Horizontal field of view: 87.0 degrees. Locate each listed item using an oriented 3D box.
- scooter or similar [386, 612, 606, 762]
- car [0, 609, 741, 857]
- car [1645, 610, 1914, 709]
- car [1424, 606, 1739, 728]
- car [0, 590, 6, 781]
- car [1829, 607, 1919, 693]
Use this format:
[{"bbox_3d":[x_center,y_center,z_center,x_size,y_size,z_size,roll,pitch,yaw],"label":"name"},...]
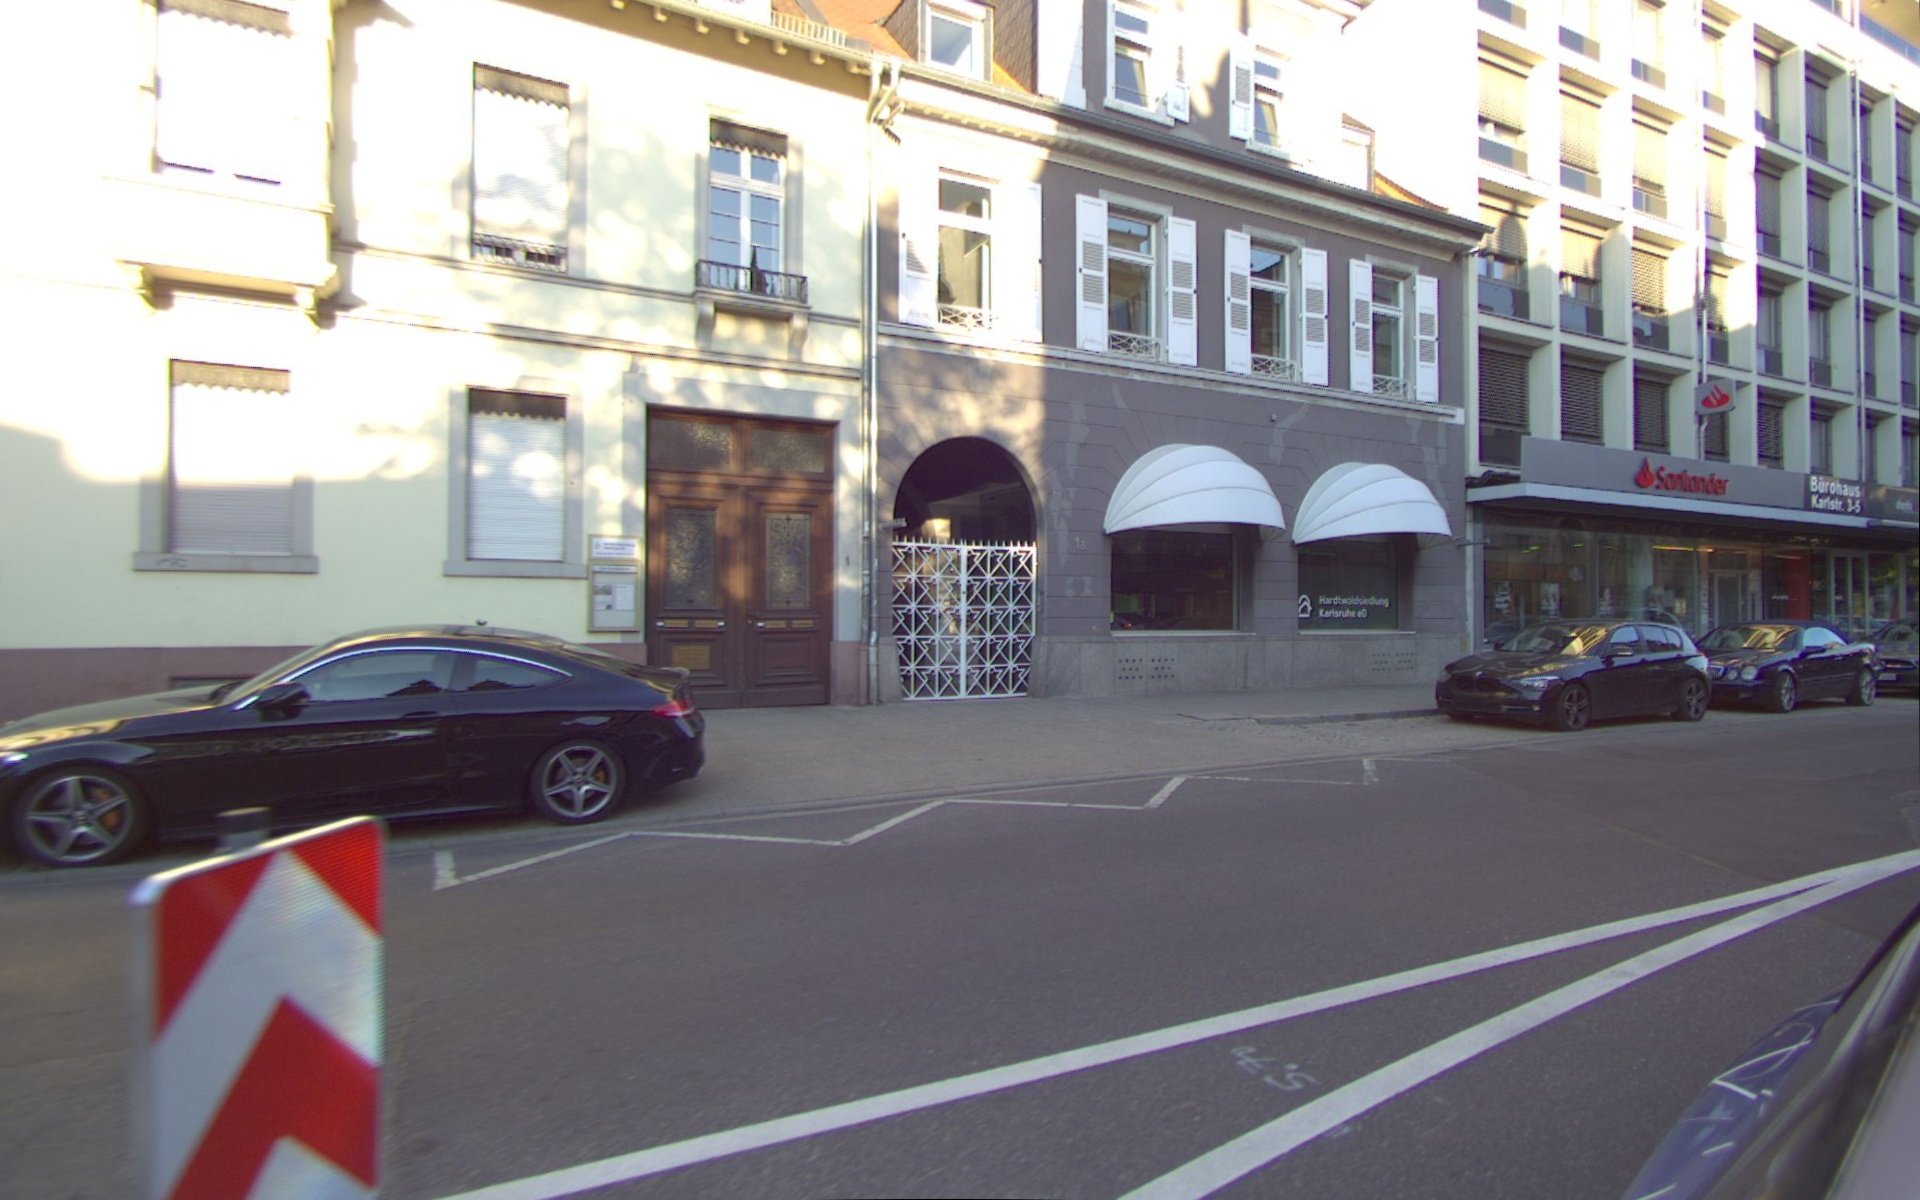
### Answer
[{"bbox_3d":[-4.141,0.757,9.163,1.732,1.248,0.605,1,2,-16],"label":"scooter or similar"},{"bbox_3d":[-4.171,0.791,7.356,4.757,1.413,1.781,1,-2,-25],"label":"car"},{"bbox_3d":[13.149,0.880,16.203,4.409,1.405,1.750,1,-1,-28],"label":"car"},{"bbox_3d":[8.538,0.828,13.876,4.162,1.465,1.750,1,-1,-27],"label":"car"},{"bbox_3d":[-8.298,0.671,5.360,4.339,1.562,1.810,1,-2,-26],"label":"car"},{"bbox_3d":[18.236,0.876,18.617,4.464,1.465,1.751,1,-1,-25],"label":"car"}]
